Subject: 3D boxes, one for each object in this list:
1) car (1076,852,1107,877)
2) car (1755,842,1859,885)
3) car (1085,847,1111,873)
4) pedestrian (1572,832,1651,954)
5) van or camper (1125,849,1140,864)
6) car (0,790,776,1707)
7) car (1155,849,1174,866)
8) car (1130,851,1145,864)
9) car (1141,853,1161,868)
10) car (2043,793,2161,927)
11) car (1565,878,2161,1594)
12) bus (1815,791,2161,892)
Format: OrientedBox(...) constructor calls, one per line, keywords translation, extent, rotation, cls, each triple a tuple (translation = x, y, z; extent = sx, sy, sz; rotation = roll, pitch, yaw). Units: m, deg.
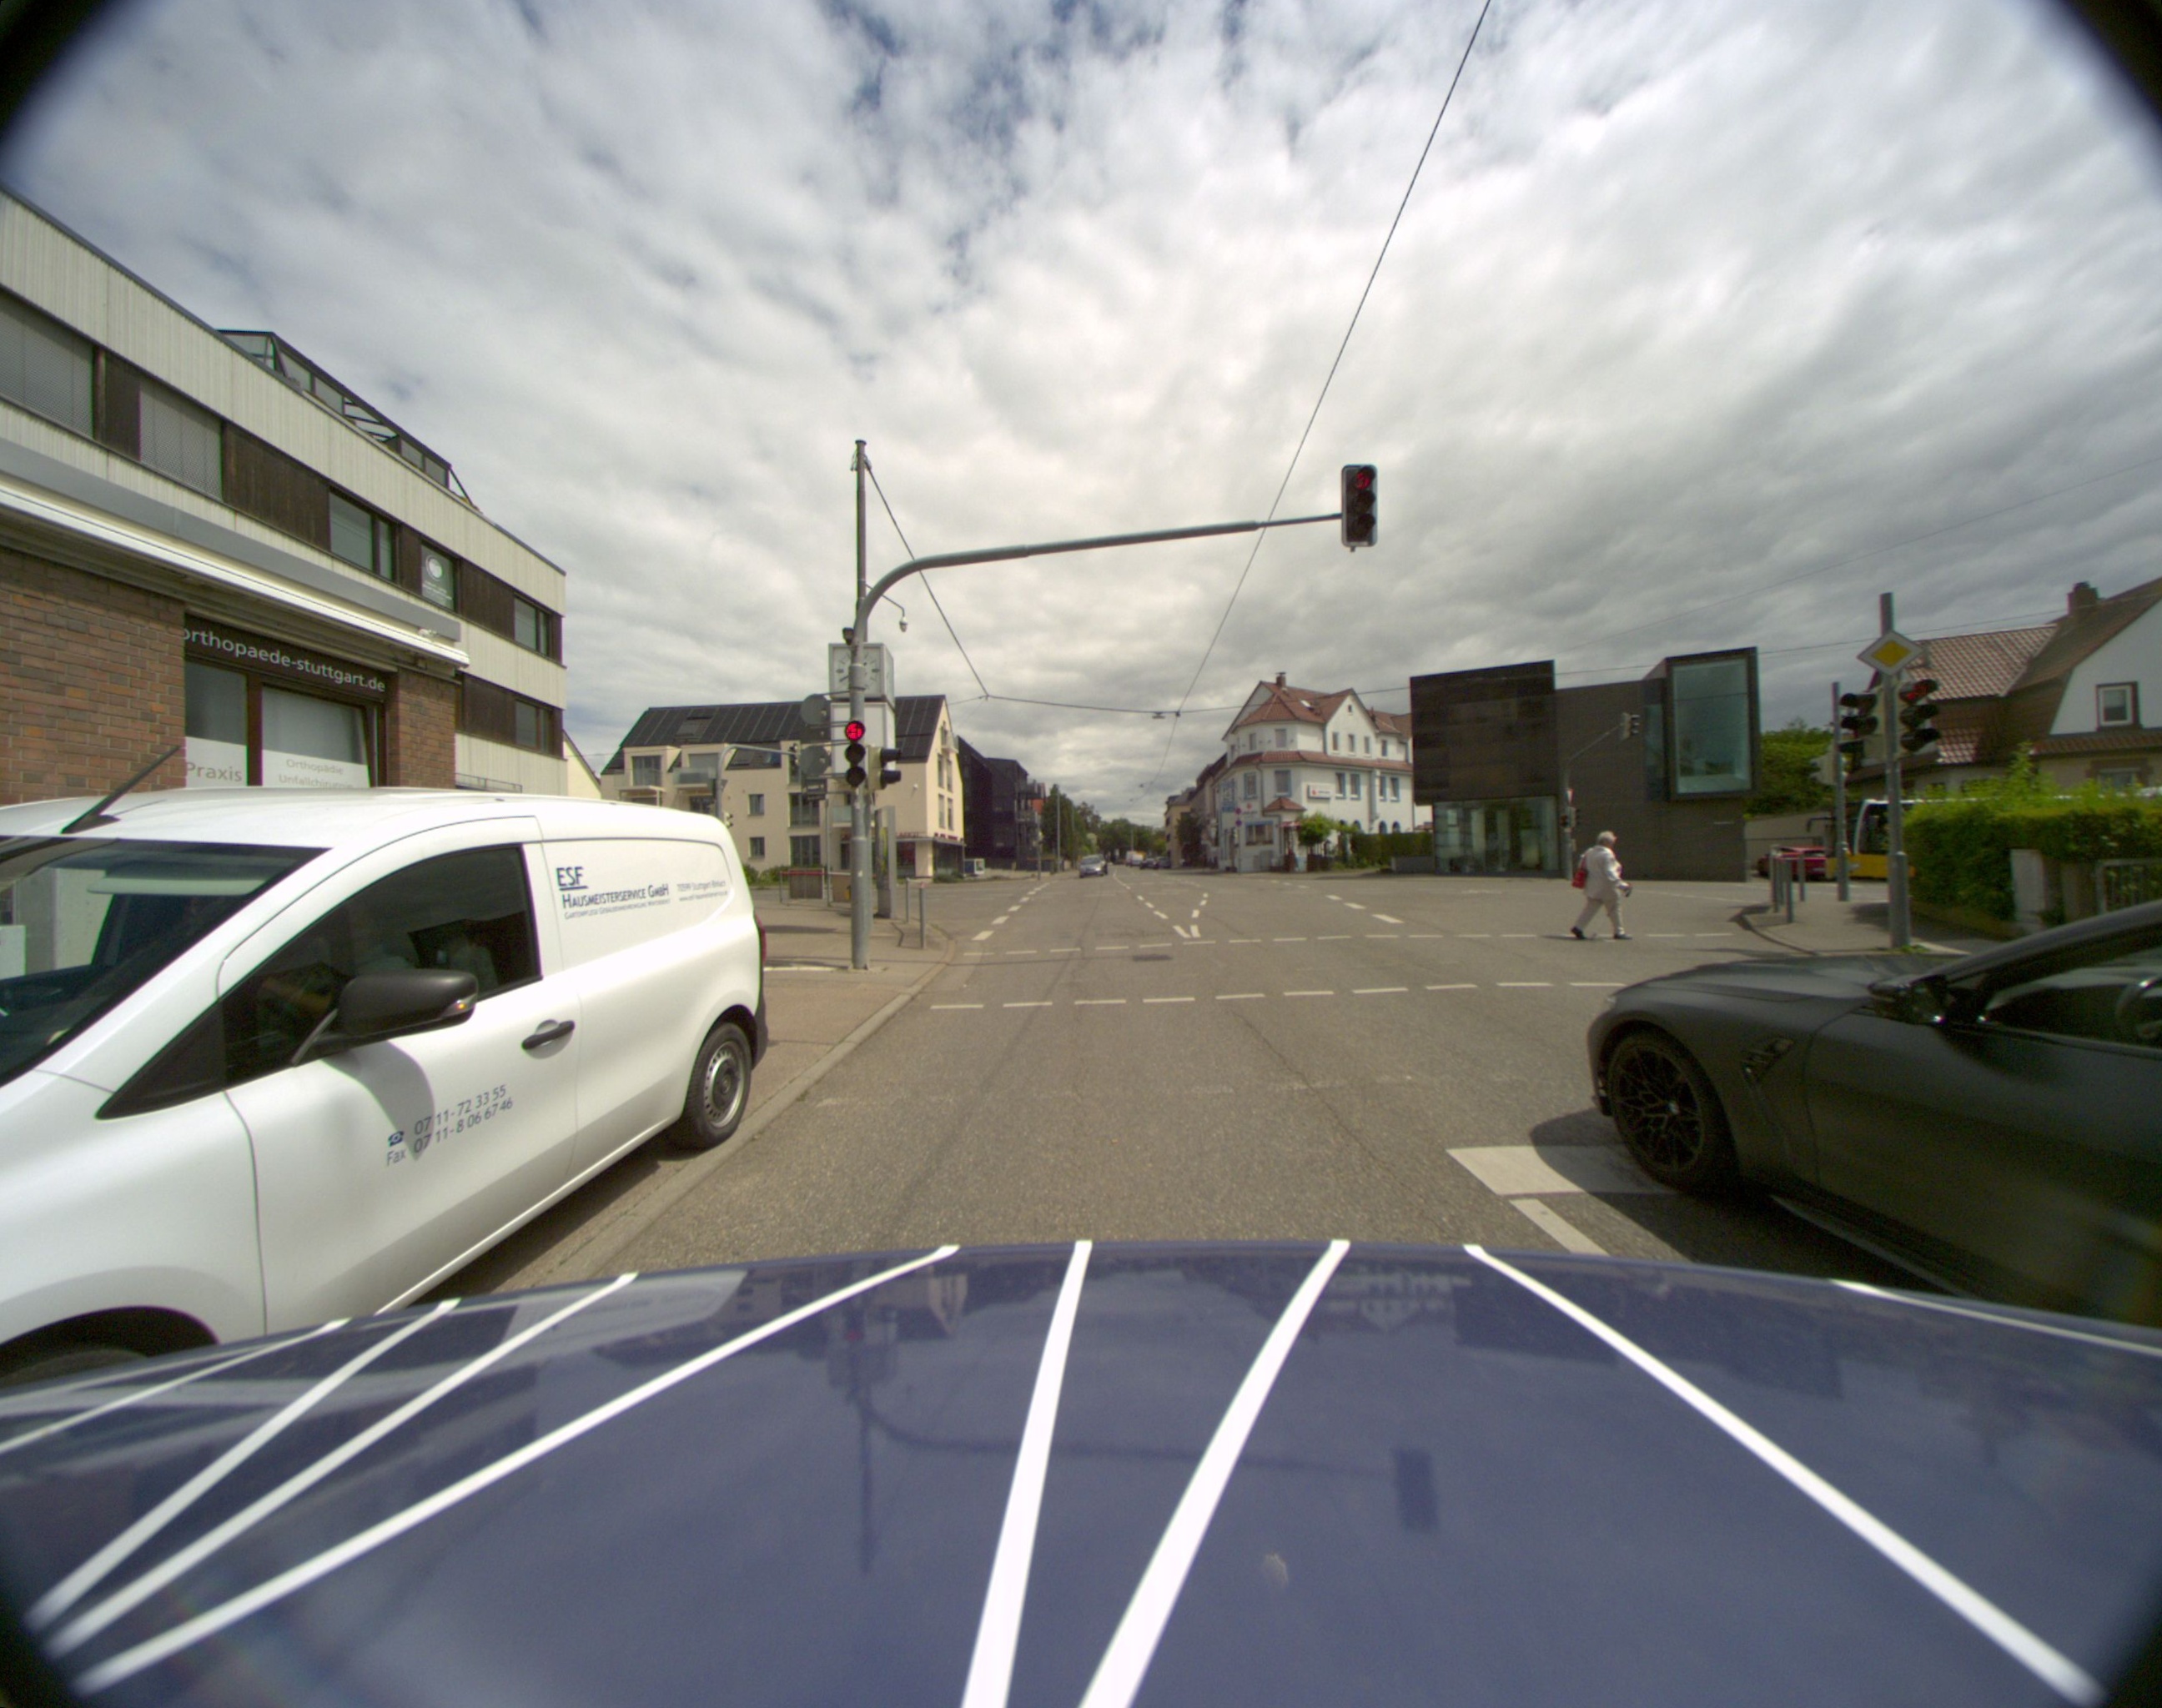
OrientedBox(translation=(0.801, 0.727, 54.964), extent=(1.998, 1.674, 4.001), rotation=(-1, 0, 3), cls="car")
OrientedBox(translation=(31.322, 0.368, 32.937), extent=(1.995, 1.631, 4.005), rotation=(-1, 2, 23), cls="car")
OrientedBox(translation=(1.387, 0.453, 60.710), extent=(1.998, 2.002, 4.000), rotation=(-2, 0, 2), cls="car")
OrientedBox(translation=(7.458, 0.522, 10.694), extent=(0.871, 1.628, 0.838), rotation=(-1, 1, 35), cls="pedestrian")
OrientedBox(translation=(9.123, 0.387, 134.859), extent=(2.113, 2.571, 5.644), rotation=(1, 0, -2), cls="van or camper")
OrientedBox(translation=(-2.835, 0.762, 2.382), extent=(1.916, 1.784, 4.490), rotation=(0, 1, 0), cls="car")
OrientedBox(translation=(10.521, 0.417, 96.012), extent=(1.998, 2.002, 4.000), rotation=(-1, 0, 1), cls="car")
OrientedBox(translation=(8.070, 0.514, 109.299), extent=(1.820, 1.801, 4.419), rotation=(-1, -1, 1), cls="car")
OrientedBox(translation=(7.585, 0.694, 82.168), extent=(1.998, 1.521, 4.001), rotation=(1, 1, 4), cls="car")
OrientedBox(translation=(16.629, 0.072, 10.357), extent=(1.998, 1.936, 4.000), rotation=(-1, 0, 1), cls="car")
OrientedBox(translation=(3.336, 0.874, 1.435), extent=(1.998, 1.448, 4.617), rotation=(-1, 0, 2), cls="car")
OrientedBox(translation=(30.797, -0.350, 24.979), extent=(9.168, 3.042, 2.791), rotation=(-1, 1, 25), cls="bus")
